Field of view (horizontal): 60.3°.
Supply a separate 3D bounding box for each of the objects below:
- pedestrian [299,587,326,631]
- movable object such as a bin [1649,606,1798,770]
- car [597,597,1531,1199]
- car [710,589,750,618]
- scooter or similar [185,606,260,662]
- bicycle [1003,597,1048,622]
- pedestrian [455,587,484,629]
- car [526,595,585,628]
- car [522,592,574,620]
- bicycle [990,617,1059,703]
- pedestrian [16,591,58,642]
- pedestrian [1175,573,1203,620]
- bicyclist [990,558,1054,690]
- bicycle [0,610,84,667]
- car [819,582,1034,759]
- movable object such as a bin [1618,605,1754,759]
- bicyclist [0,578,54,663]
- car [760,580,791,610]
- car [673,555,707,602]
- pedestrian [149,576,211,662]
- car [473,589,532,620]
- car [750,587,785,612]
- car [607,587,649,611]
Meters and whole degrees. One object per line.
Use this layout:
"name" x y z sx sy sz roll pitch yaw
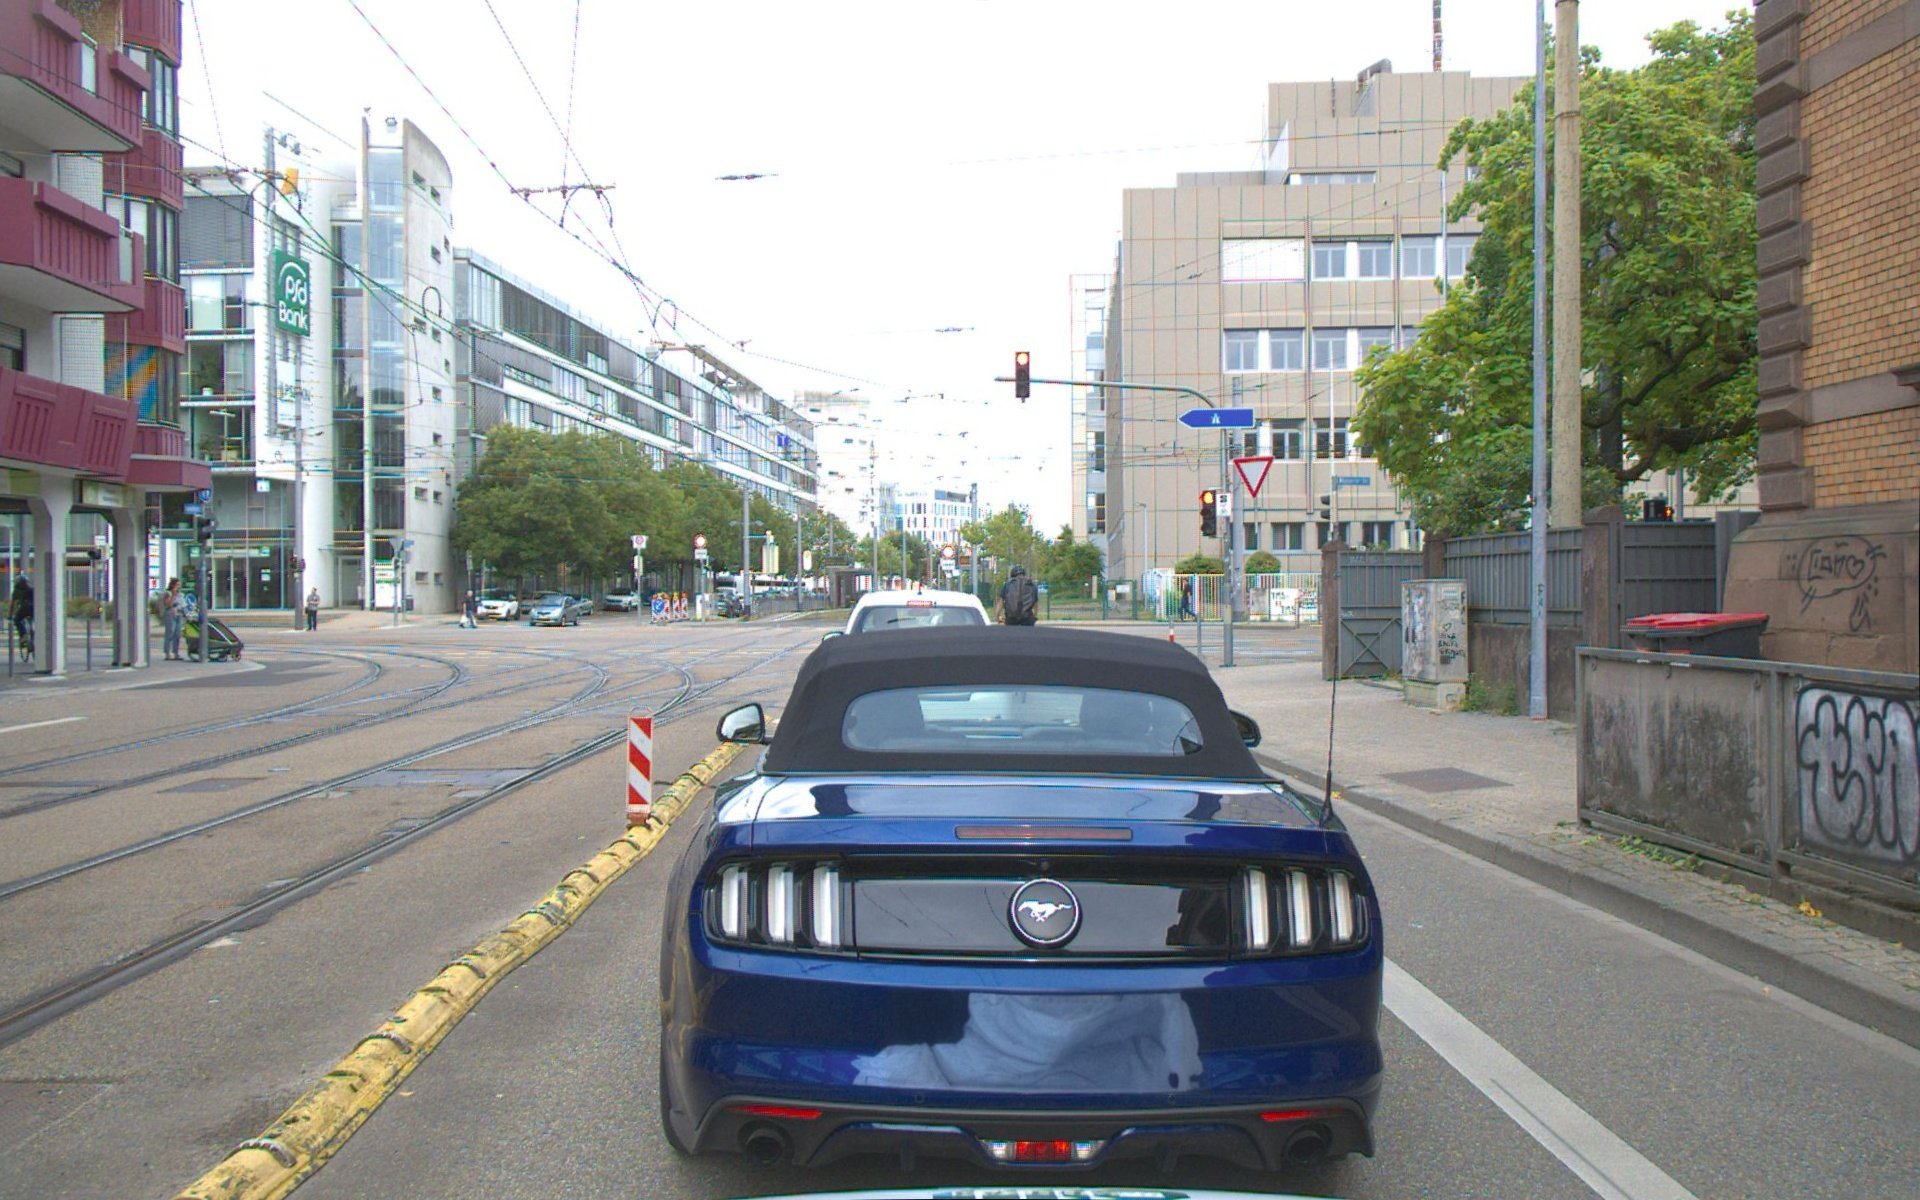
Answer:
"pedestrian" -28.104 0.376 71.791 0.816 1.897 0.766 -1 0 11
"movable object such as a bin" 5.491 0.614 11.924 0.650 1.101 0.700 -4 0 -6
"car" 0.191 0.730 5.423 1.838 1.428 4.282 1 0 -1
"car" -13.468 0.188 97.038 1.841 1.657 4.086 -1 0 -1
"scooter or similar" -15.571 0.717 34.952 1.172 1.148 0.946 0 0 -3
"bicycle" 2.881 0.421 72.753 0.629 0.998 2.125 -1 -2 -42
"pedestrian" -22.780 0.369 76.819 0.968 1.888 0.902 -1 0 6
"car" -20.194 0.542 82.710 1.633 1.533 4.236 1 1 3
"car" -24.320 0.337 97.773 1.791 1.584 4.218 1 1 3
"bicycle" 0.881 0.821 23.287 0.784 1.105 2.130 -1 0 -3
"pedestrian" -31.187 0.546 55.889 0.915 1.700 0.766 -1 0 11
"pedestrian" 9.544 -0.145 68.930 1.063 1.931 0.902 -1 0 5
"bicyclist" 0.867 0.326 23.457 0.780 1.816 1.232 -1 0 -3
"bicycle" -18.790 0.772 33.065 2.303 1.105 0.765 -1 0 13
"car" -0.454 0.576 16.065 1.799 1.464 4.183 -1 0 -5
"movable object such as a bin" 5.538 0.610 12.641 0.638 1.101 0.677 -4 0 -6
"bicyclist" -18.840 0.410 33.069 1.029 1.680 0.753 -1 0 13
"car" -12.910 -0.376 115.749 1.749 2.022 4.120 -1 0 -1
"car" -22.025 -1.727 135.021 1.945 3.700 4.513 1 0 0
"pedestrian" -16.439 0.396 34.865 0.929 1.774 0.811 0 0 -4
"car" -25.018 0.217 90.533 1.791 1.584 4.218 1 1 3
"car" -12.849 -0.056 110.583 1.830 1.634 4.212 -1 0 -1
"car" -23.229 -0.064 115.986 1.945 1.584 4.513 1 1 0
